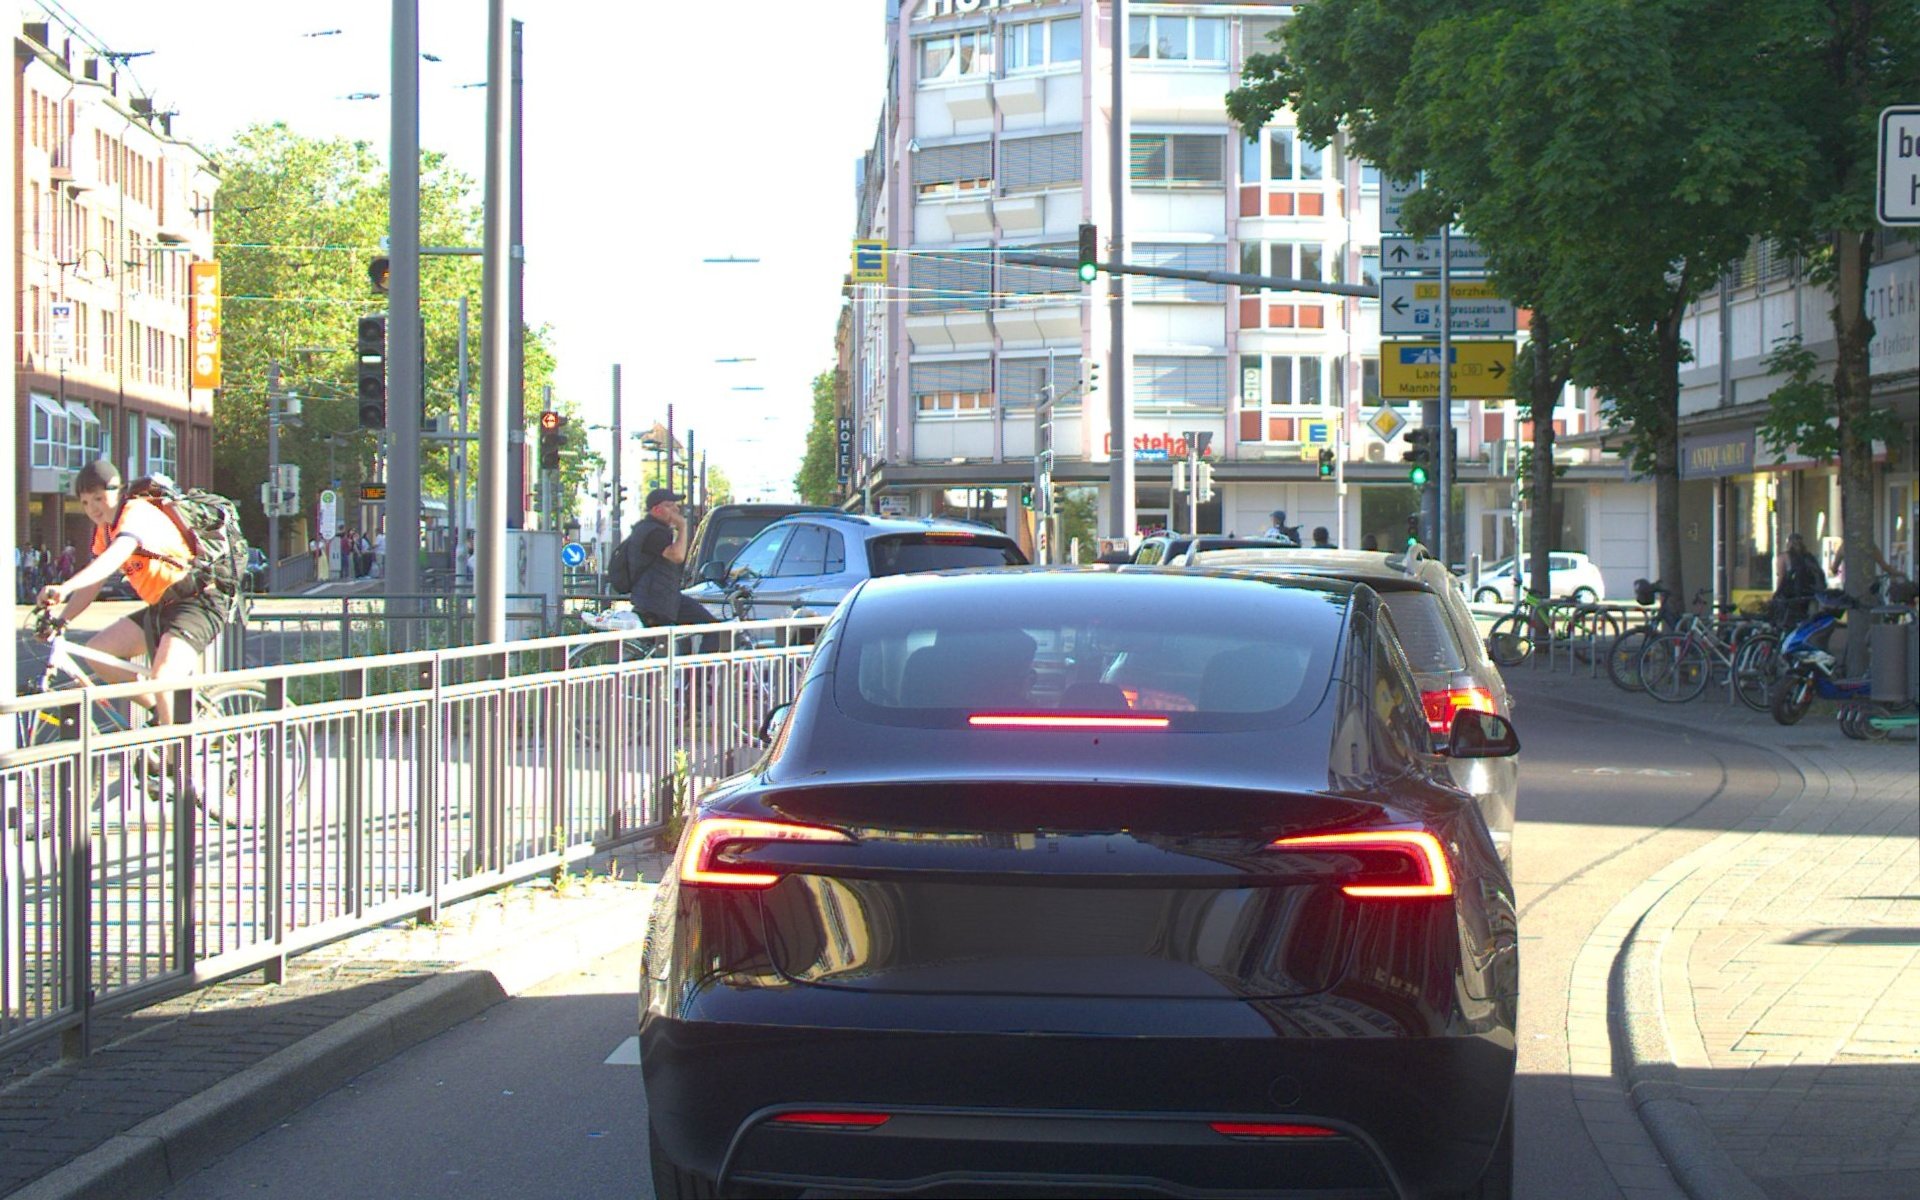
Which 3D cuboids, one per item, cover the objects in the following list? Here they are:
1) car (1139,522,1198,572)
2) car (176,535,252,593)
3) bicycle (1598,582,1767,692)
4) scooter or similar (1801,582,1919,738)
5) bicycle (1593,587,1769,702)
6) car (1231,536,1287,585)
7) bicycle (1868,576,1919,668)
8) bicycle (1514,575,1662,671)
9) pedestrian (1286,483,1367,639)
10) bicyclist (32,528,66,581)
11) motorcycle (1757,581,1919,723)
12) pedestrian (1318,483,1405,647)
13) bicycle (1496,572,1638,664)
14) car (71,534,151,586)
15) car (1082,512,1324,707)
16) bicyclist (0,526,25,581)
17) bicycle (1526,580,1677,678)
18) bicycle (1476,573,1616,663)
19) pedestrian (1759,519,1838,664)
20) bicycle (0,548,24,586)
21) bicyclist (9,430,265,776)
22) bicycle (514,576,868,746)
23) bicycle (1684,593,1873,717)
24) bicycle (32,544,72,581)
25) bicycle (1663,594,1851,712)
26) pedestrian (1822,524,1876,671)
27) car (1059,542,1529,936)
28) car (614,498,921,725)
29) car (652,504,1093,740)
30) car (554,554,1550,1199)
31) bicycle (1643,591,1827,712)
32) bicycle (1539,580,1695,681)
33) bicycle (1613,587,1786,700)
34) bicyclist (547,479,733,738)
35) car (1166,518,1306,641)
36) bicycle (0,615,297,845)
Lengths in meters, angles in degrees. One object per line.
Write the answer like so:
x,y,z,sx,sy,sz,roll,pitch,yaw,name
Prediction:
4.704,-1.190,77.395,0.922,1.096,1.866,1,1,16,car
-23.006,-1.109,106.130,1.697,1.725,3.707,1,1,-3,car
7.419,0.378,35.339,1.650,1.095,0.350,1,0,1,bicycle
7.558,0.473,27.181,1.644,1.211,0.644,1,0,30,scooter or similar
7.001,0.433,33.391,1.649,1.095,0.350,1,0,-10,bicycle
6.934,-0.929,79.730,0.922,1.096,1.866,-2,1,16,car
10.779,0.244,39.667,0.332,1.030,1.256,1,0,4,bicycle
7.364,0.268,40.332,1.650,1.095,0.350,1,0,1,bicycle
4.803,-0.512,45.158,0.921,2.007,0.972,1,0,-1,pedestrian
-27.206,-1.359,102.692,0.784,1.558,0.746,0,1,2,bicyclist
7.714,0.443,29.255,1.707,1.169,0.541,1,0,-2,motorcycle
4.983,-0.438,42.719,0.921,2.007,0.972,1,0,-1,pedestrian
7.301,0.211,41.377,1.650,1.095,0.350,0,1,1,bicycle
-25.335,-1.193,102.691,1.710,1.521,4.037,1,1,-5,car
2.305,0.069,33.550,1.598,1.772,3.982,1,1,-7,car
-27.168,-1.333,97.982,0.784,1.558,0.746,1,0,2,bicyclist
7.331,0.328,39.319,1.650,1.095,0.350,1,0,1,bicycle
7.233,0.220,42.471,1.650,1.095,0.350,1,0,1,bicycle
9.709,-0.097,39.814,0.699,1.656,0.777,1,0,-1,pedestrian
-27.186,-0.942,97.619,0.537,1.085,2.224,1,1,2,bicycle
-3.712,0.011,15.524,1.040,1.516,0.392,0,0,-38,bicyclist
-1.731,0.385,22.422,2.329,1.050,0.631,0,1,-38,bicycle
7.384,0.496,31.019,1.649,1.095,0.350,1,0,-10,bicycle
-27.215,-1.130,103.090,0.529,1.085,2.284,0,1,2,bicycle
7.287,0.482,31.440,1.649,1.057,0.350,1,0,-10,bicycle
10.372,-0.033,40.126,0.526,1.704,0.403,1,0,5,pedestrian
1.462,0.489,15.003,1.751,1.449,3.999,1,1,6,car
-1.899,0.076,32.608,1.993,2.007,4.001,0,1,-17,car
-0.772,0.131,26.470,1.883,1.656,4.159,1,1,-25,car
0.312,0.634,8.359,1.829,1.450,3.999,1,1,4,car
7.182,0.476,31.864,1.649,1.095,0.350,1,0,-10,bicycle
7.311,0.342,38.292,1.650,1.095,0.350,1,0,1,bicycle
7.332,0.429,34.087,1.649,1.095,0.350,1,0,-10,bicycle
-2.062,0.045,22.135,0.758,1.623,0.978,0,1,-39,bicyclist
4.081,-0.313,51.229,1.719,1.745,3.754,1,1,-1,car
-3.801,0.569,15.461,1.597,0.990,0.403,0,1,-39,bicycle
